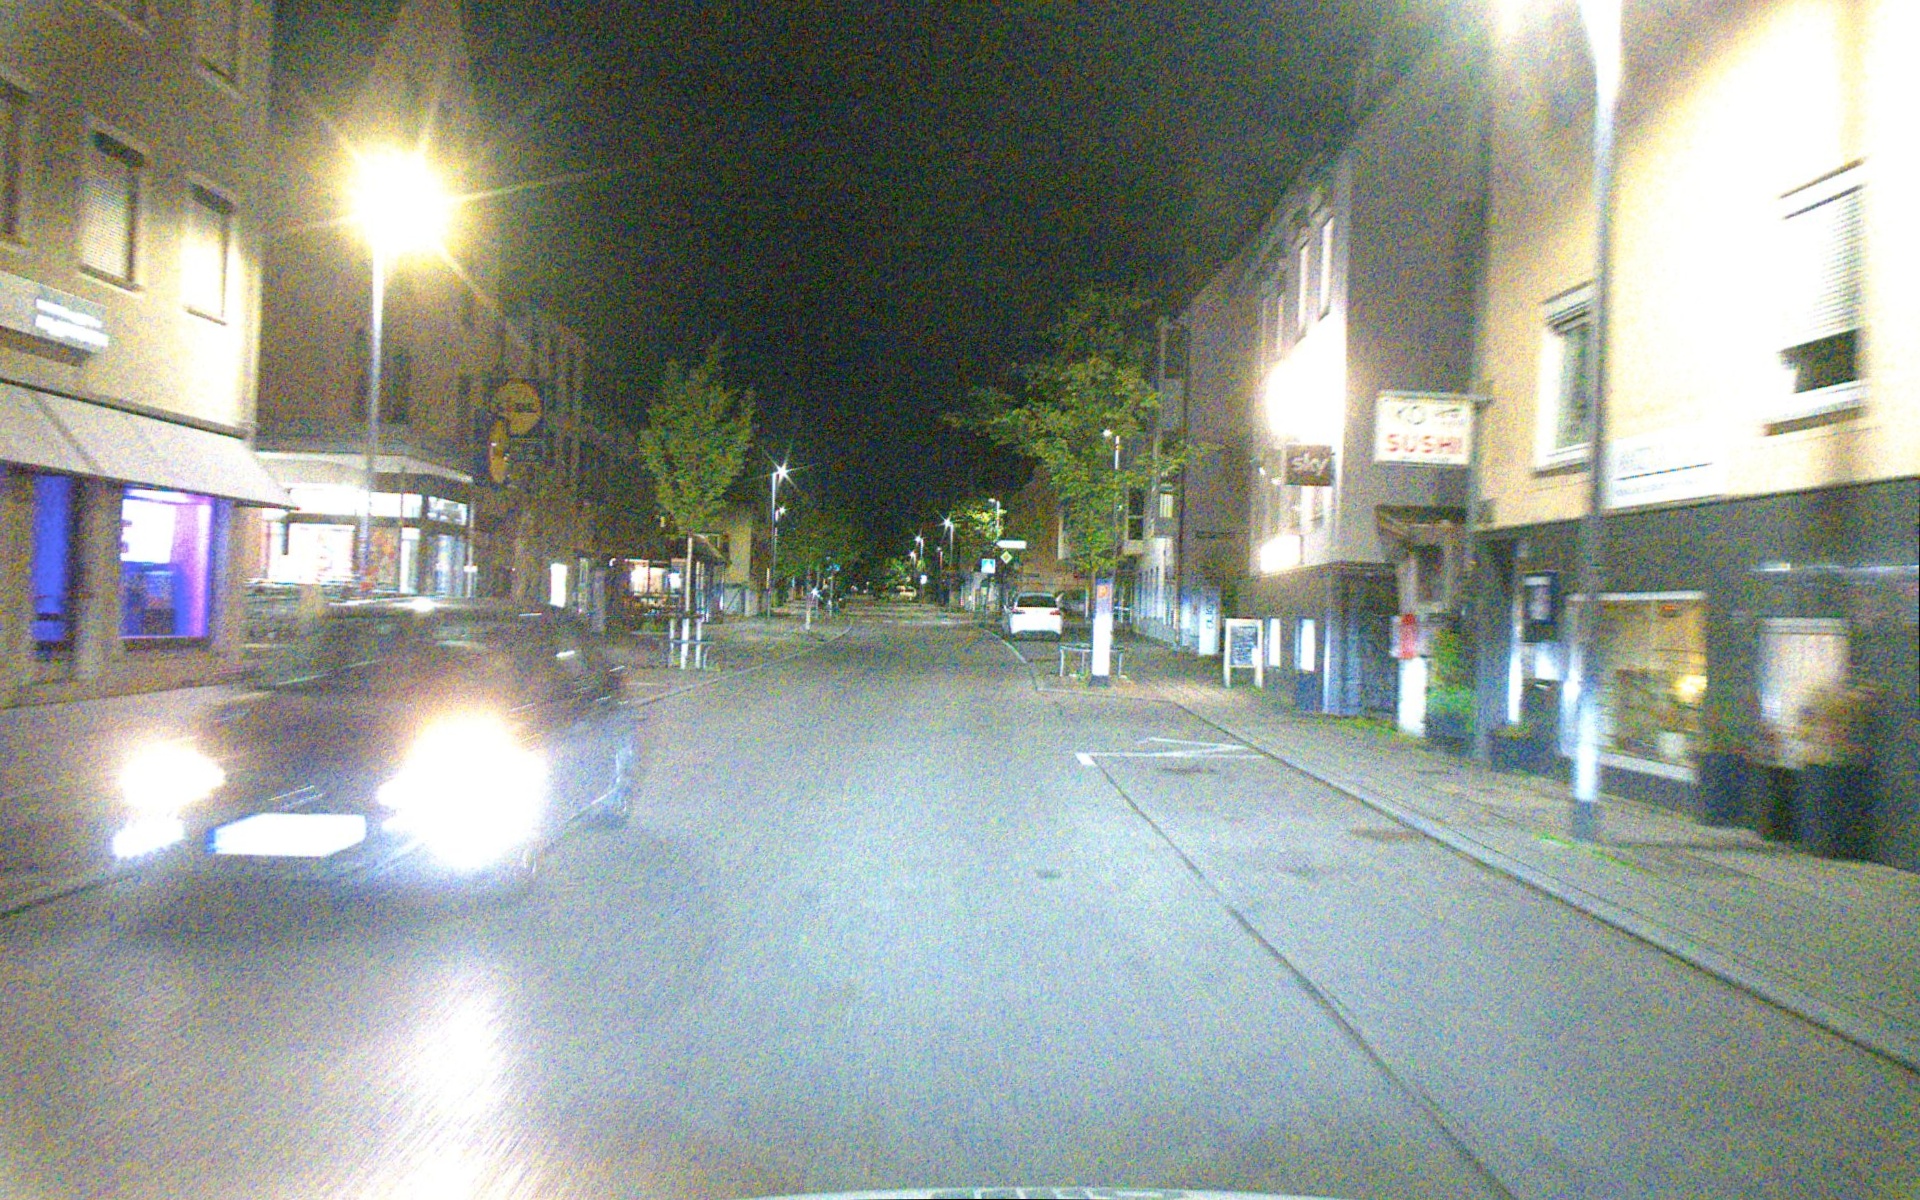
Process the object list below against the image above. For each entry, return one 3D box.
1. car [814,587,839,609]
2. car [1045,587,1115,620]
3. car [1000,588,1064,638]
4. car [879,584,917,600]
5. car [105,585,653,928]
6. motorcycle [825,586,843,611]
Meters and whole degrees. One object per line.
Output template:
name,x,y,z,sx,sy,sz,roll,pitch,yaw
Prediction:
car,-9.500,-0.156,117.685,1.655,1.537,4.275,1,0,-4
car,6.380,0.179,88.031,3.438,1.551,1.819,-2,0,-6
car,2.343,0.403,54.488,1.708,1.596,4.206,0,0,-3
car,-8.374,-1.103,223.476,5.083,2.049,2.099,0,0,-6
car,-2.842,0.663,9.002,1.682,1.453,3.815,1,0,-1
motorcycle,-7.527,-0.077,98.958,0.730,1.477,2.196,1,0,4
